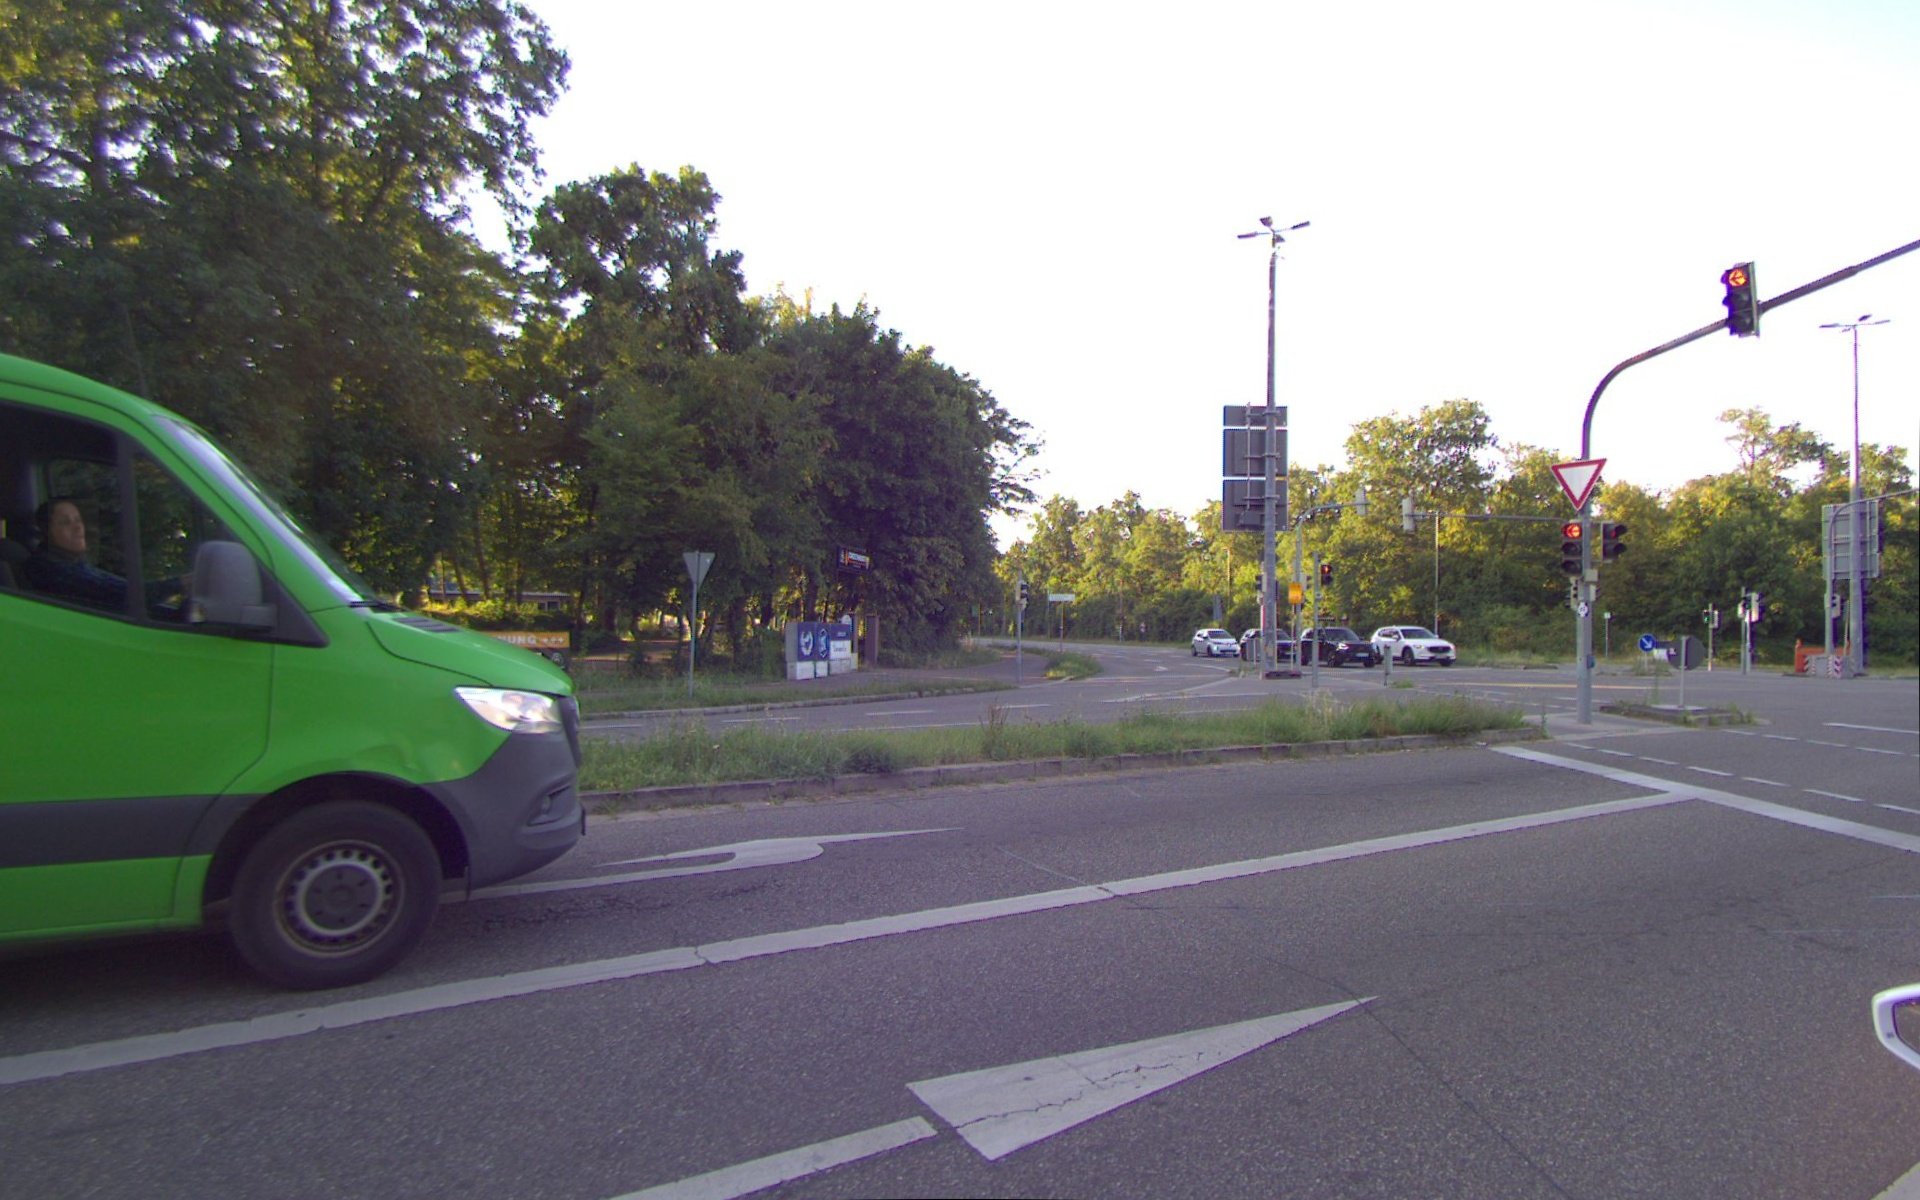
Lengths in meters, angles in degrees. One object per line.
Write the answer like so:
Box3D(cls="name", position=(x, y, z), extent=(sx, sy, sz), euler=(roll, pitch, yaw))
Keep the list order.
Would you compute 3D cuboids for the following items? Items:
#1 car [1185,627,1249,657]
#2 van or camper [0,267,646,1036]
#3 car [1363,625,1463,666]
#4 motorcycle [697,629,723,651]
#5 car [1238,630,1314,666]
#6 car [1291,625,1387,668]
Box3D(cls="car", position=(14.553, 2.363, 57.103), extent=(1.964, 1.661, 4.251), euler=(1, -1, -10))
Box3D(cls="van or camper", position=(-4.333, 0.157, 3.581), extent=(5.830, 2.453, 1.983), euler=(1, -2, -32))
Box3D(cls="car", position=(19.303, 1.905, 42.988), extent=(1.963, 1.661, 4.253), euler=(1, -1, -8))
Box3D(cls="motorcycle", position=(-11.705, 1.869, 47.004), extent=(1.156, 1.031, 0.383), euler=(1, -1, -12))
Box3D(cls="car", position=(15.332, 2.309, 48.947), extent=(1.963, 1.661, 4.253), euler=(1, -1, -7))
Box3D(cls="car", position=(15.610, 1.881, 41.598), extent=(1.963, 1.661, 4.253), euler=(1, -1, -8))
